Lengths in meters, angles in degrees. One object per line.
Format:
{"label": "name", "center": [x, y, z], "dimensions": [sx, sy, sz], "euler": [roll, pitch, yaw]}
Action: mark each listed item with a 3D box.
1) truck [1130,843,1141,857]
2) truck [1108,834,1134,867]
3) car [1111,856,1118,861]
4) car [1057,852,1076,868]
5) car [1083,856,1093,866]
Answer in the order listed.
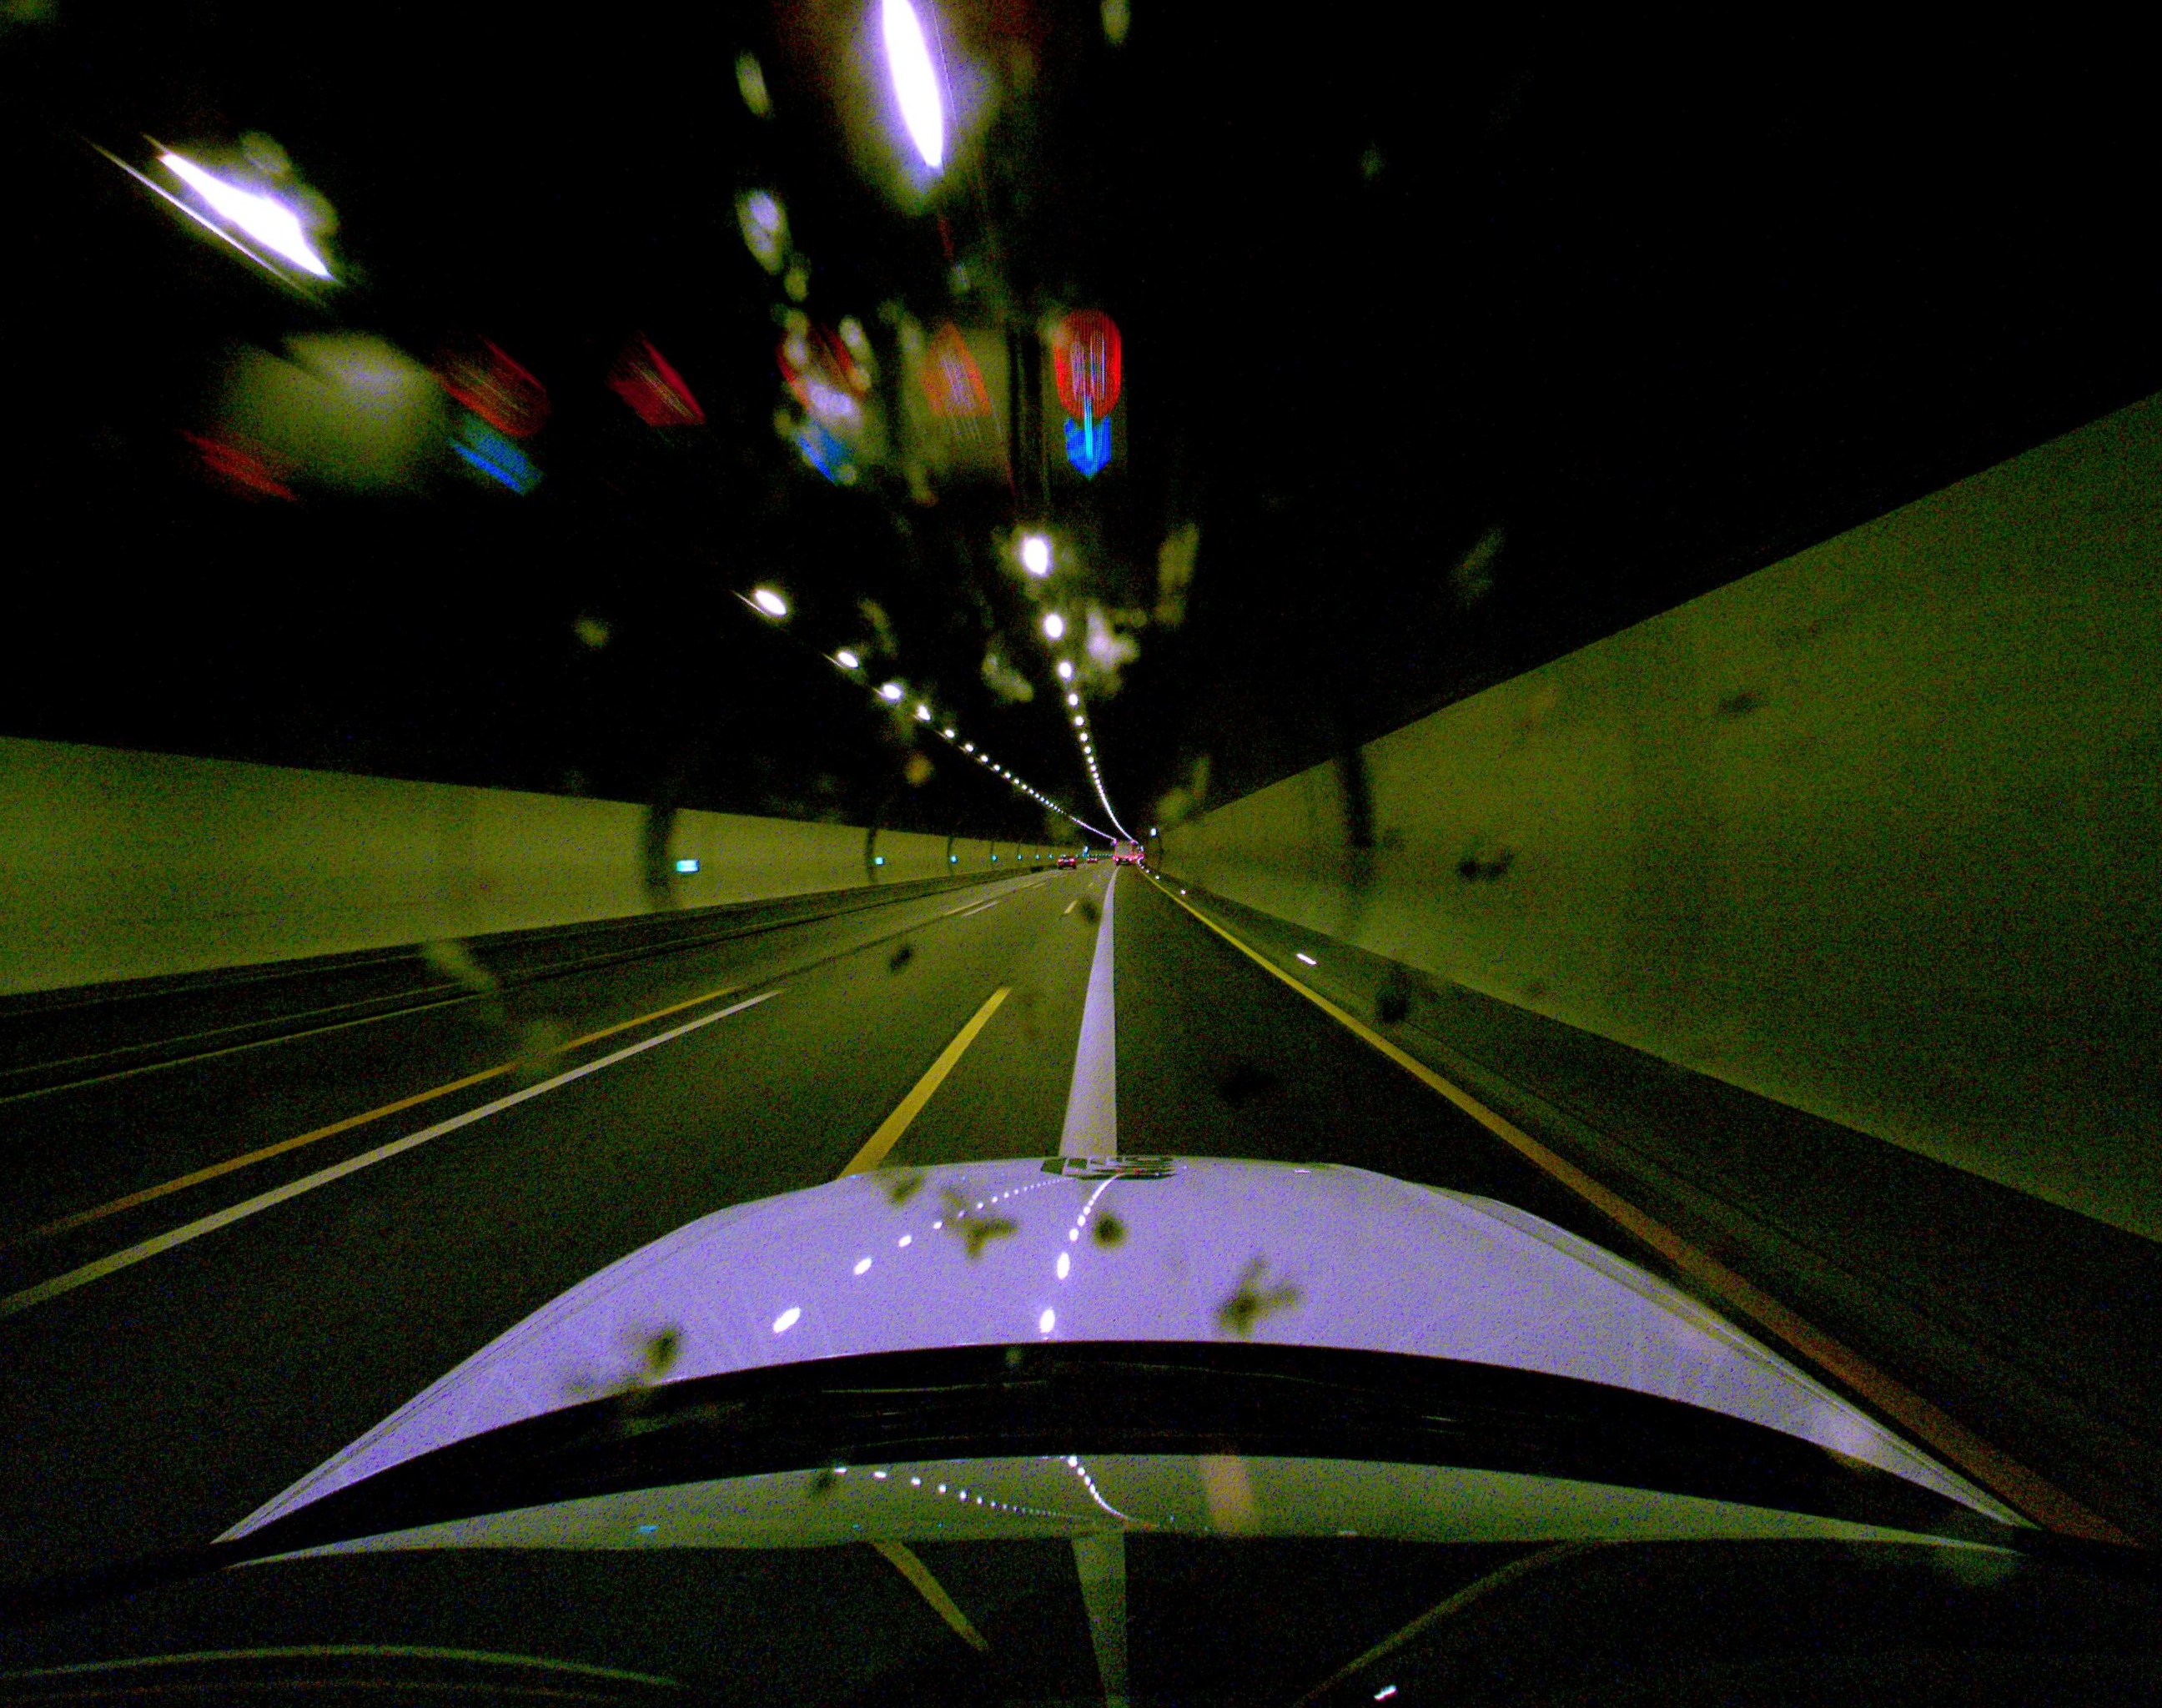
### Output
{"label": "truck", "center": [16.474, -1.318, 247.951], "dimensions": [2.910, 4.047, 14.040], "euler": [-2, 0, 3]}
{"label": "truck", "center": [6.044, -0.472, 125.038], "dimensions": [3.267, 4.650, 17.289], "euler": [-2, 0, 1]}
{"label": "car", "center": [8.689, 1.126, 211.471], "dimensions": [1.645, 1.274, 4.001], "euler": [-1, 2, 1]}
{"label": "car", "center": [-1.594, 0.656, 90.086], "dimensions": [1.805, 1.618, 4.002], "euler": [-1, 0, 2]}
{"label": "car", "center": [1.218, 1.213, 145.984], "dimensions": [1.806, 1.520, 4.001], "euler": [-1, 2, 1]}
